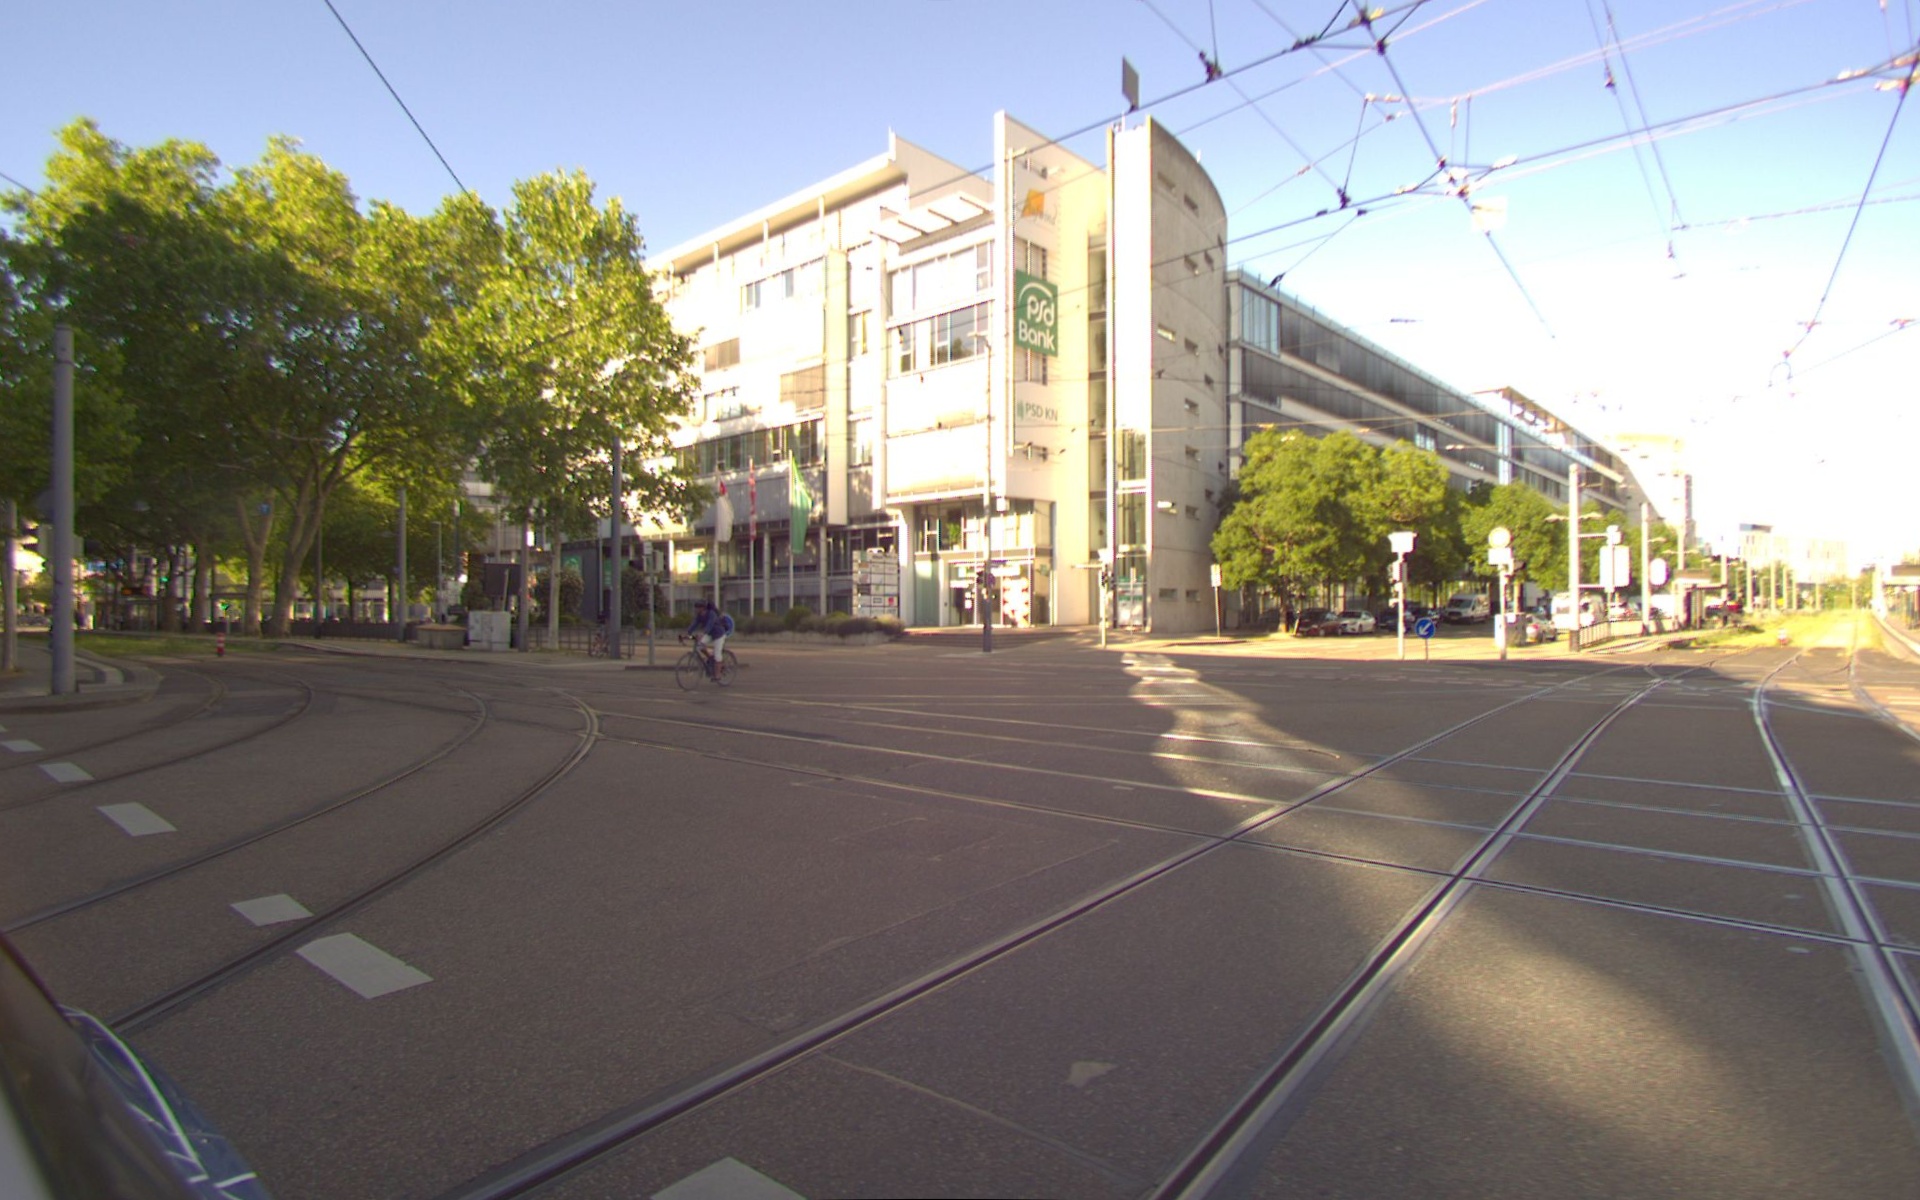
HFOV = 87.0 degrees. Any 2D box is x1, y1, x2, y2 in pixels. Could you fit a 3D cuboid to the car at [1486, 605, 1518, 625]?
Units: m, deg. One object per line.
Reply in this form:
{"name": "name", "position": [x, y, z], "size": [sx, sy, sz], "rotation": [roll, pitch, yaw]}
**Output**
{"name": "car", "position": [45.820, 1.280, 85.501], "size": [1.734, 1.666, 3.749], "rotation": [-1, -1, 39]}

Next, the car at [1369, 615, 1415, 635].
{"name": "car", "position": [28.159, 1.617, 65.979], "size": [1.807, 1.198, 3.749], "rotation": [-1, -1, 39]}

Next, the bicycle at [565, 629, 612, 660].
{"name": "bicycle", "position": [-11.711, 1.385, 31.878], "size": [0.803, 0.953, 1.728], "rotation": [0, -1, -42]}

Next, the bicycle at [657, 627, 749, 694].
{"name": "bicycle", "position": [-4.966, 1.142, 19.721], "size": [0.587, 1.198, 2.025], "rotation": [-1, 0, 25]}

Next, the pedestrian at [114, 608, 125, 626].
{"name": "pedestrian", "position": [-70.357, 1.404, 84.746], "size": [0.549, 1.508, 0.548], "rotation": [-1, -1, 31]}

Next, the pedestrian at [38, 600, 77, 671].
{"name": "pedestrian", "position": [-22.923, 0.883, 25.704], "size": [0.725, 1.760, 0.712], "rotation": [0, -1, -43]}

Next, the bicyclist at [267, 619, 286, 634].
{"name": "bicyclist", "position": [-60.969, 2.363, 90.262], "size": [1.372, 1.259, 0.995], "rotation": [-2, 0, 37]}

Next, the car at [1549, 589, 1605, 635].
{"name": "car", "position": [35.494, 0.665, 58.140], "size": [2.180, 2.524, 4.343], "rotation": [-1, -1, 39]}

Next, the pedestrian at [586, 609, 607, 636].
{"name": "pedestrian", "position": [-21.408, 1.307, 59.546], "size": [0.767, 1.604, 0.896], "rotation": [-1, -2, 42]}

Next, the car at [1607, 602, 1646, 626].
{"name": "car", "position": [44.660, 0.920, 67.790], "size": [1.752, 1.570, 3.898], "rotation": [-1, -1, 39]}

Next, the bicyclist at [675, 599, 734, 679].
{"name": "bicyclist", "position": [-4.969, 0.740, 19.717], "size": [0.719, 1.505, 0.874], "rotation": [-1, -1, 25]}

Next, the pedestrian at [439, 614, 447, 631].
{"name": "pedestrian", "position": [-49.076, 2.138, 96.062], "size": [0.571, 1.616, 0.581], "rotation": [0, -1, -42]}

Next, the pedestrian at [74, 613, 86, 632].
{"name": "pedestrian", "position": [-82.549, 2.103, 94.932], "size": [0.675, 1.767, 0.649], "rotation": [-1, -1, 34]}

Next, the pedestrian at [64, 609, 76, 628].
{"name": "pedestrian", "position": [-83.088, 1.742, 94.452], "size": [0.697, 1.708, 0.678], "rotation": [-1, -1, 34]}

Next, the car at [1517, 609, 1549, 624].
{"name": "car", "position": [53.730, 1.554, 94.835], "size": [1.998, 1.356, 3.947], "rotation": [-1, -1, 39]}

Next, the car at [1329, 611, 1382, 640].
{"name": "car", "position": [23.533, 1.481, 60.208], "size": [1.735, 1.666, 3.899], "rotation": [-1, -1, 41]}

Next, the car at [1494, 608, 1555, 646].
{"name": "car", "position": [26.738, 1.274, 47.881], "size": [2.104, 1.710, 3.923], "rotation": [-1, -1, 35]}

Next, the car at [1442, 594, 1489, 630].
{"name": "car", "position": [39.209, 0.922, 78.413], "size": [2.230, 2.674, 5.062], "rotation": [-1, -1, 39]}
